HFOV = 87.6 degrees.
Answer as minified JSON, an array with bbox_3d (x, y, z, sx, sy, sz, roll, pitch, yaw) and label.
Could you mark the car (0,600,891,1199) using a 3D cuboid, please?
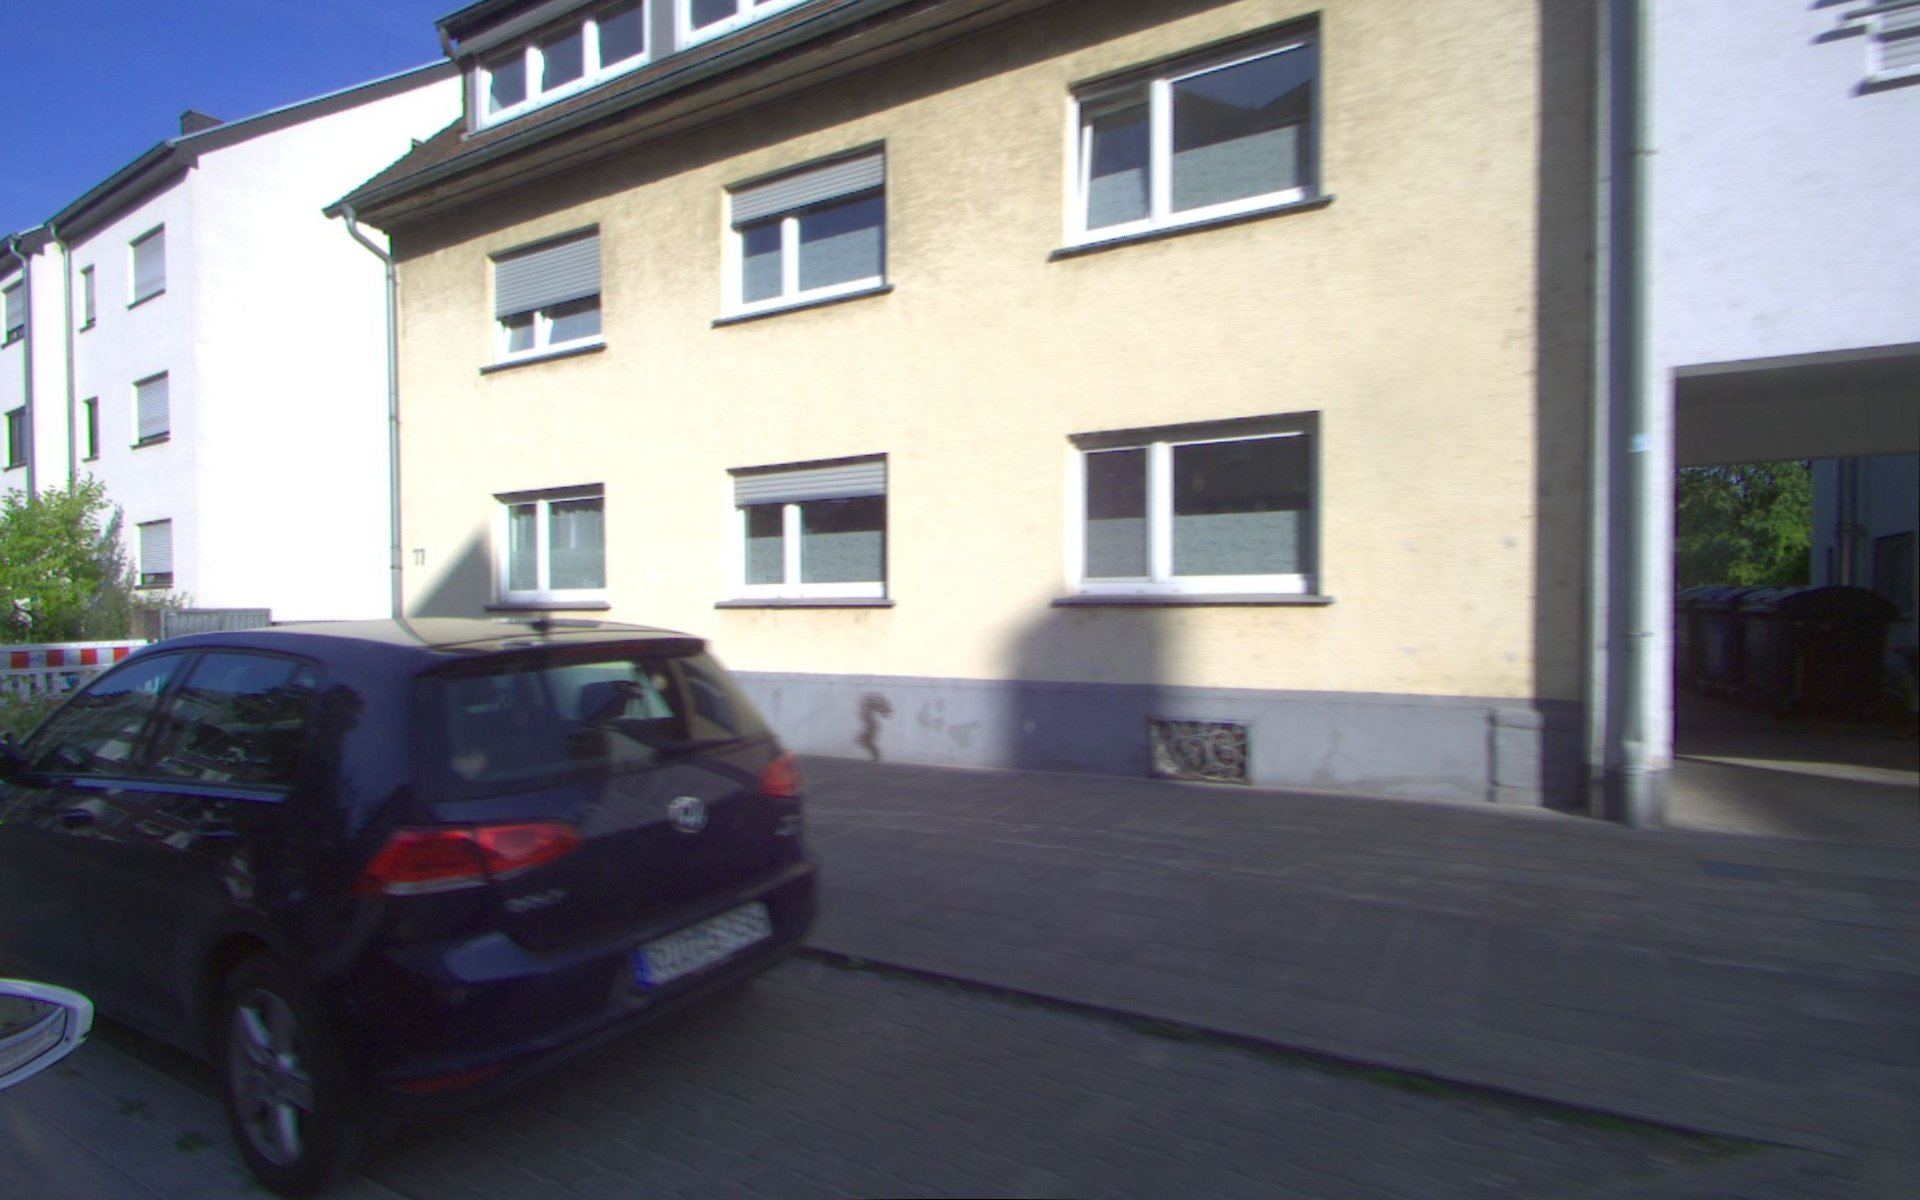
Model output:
[{"bbox_3d":[-2.381,0.781,3.935,3.886,1.502,1.826,-1,0,32],"label":"car"}]
